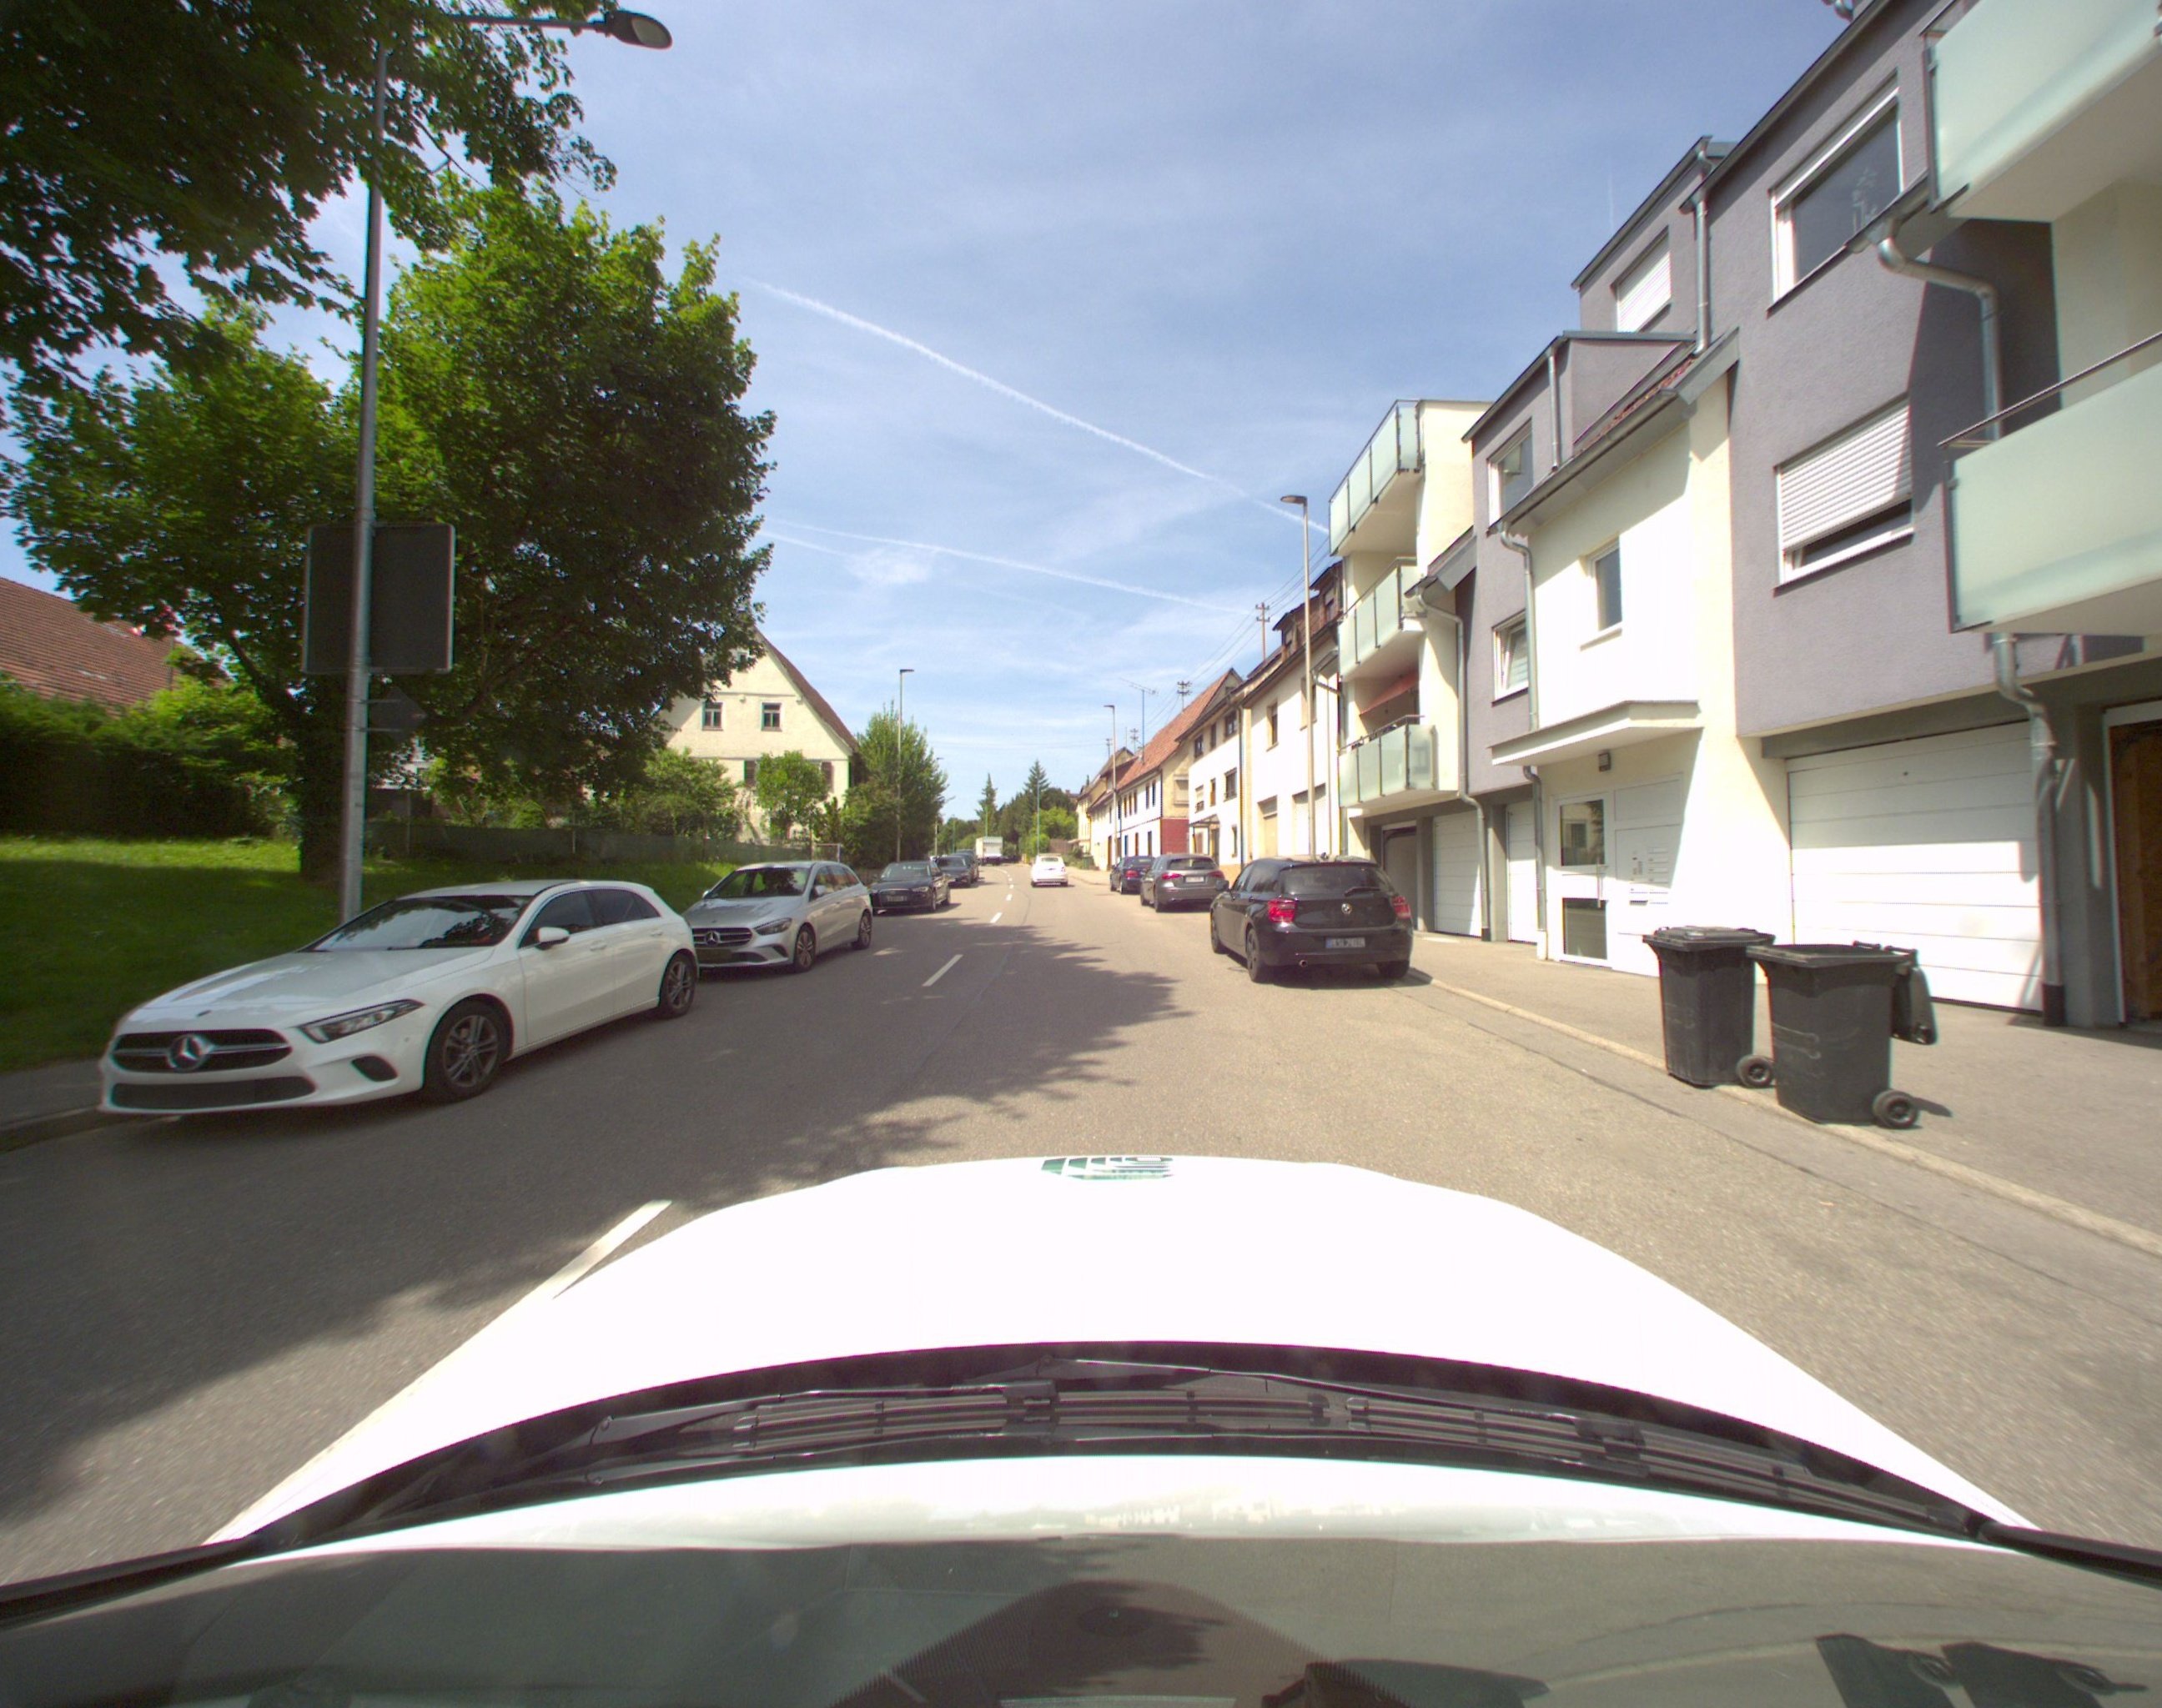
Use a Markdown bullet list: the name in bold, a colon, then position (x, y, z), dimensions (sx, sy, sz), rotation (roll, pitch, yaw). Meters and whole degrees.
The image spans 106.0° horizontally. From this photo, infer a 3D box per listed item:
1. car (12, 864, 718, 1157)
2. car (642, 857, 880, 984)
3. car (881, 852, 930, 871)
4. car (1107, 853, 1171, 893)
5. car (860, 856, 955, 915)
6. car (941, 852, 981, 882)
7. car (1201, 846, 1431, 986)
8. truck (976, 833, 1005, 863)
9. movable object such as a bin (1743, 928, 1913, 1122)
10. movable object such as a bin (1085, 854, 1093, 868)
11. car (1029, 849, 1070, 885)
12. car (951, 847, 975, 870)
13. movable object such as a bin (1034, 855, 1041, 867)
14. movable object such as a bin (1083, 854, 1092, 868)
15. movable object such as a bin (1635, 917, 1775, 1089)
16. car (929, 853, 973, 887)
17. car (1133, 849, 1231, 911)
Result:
- **car**: position (-4.847, 0.873, 6.590), dimensions (1.748, 1.467, 4.363), rotation (-2, 0, 1)
- **car**: position (-4.598, 0.850, 12.466), dimensions (1.765, 1.527, 4.224), rotation (-2, 0, 2)
- **car**: position (-16.135, 0.681, 74.713), dimensions (4.236, 1.405, 1.812), rotation (4, -1, -16)
- **car**: position (2.076, 0.648, 30.239), dimensions (1.664, 1.352, 4.178), rotation (0, 0, -6)
- **car**: position (-4.975, 0.838, 24.038), dimensions (1.799, 1.423, 4.925), rotation (-1, 1, -1)
- **car**: position (-6.435, 0.663, 44.027), dimensions (1.751, 1.521, 4.296), rotation (-1, 1, -3)
- **car**: position (2.775, 0.665, 10.671), dimensions (1.791, 1.424, 4.290), rotation (-1, 0, 1)
- **truck**: position (-11.751, -0.713, 105.396), dimensions (3.070, 3.774, 7.837), rotation (-1, -1, -11)
- **movable object such as a bin**: position (3.997, 0.893, 4.385), dimensions (0.429, 0.925, 0.491), rotation (-2, 0, 0)
- **movable object such as a bin**: position (0.613, 0.549, 61.975), dimensions (0.546, 1.033, 0.550), rotation (-3, 0, -8)
- **car**: position (-1.519, 0.602, 37.968), dimensions (1.722, 1.560, 3.993), rotation (0, -1, -5)
- **car**: position (-10.588, 0.422, 72.777), dimensions (1.891, 1.937, 4.968), rotation (-2, 0, -11)
- **movable object such as a bin**: position (-4.225, 0.684, 79.381), dimensions (0.491, 1.033, 0.550), rotation (-4, 0, 13)
- **movable object such as a bin**: position (0.514, 0.554, 62.579), dimensions (0.546, 1.033, 0.550), rotation (-3, 0, -8)
- **movable object such as a bin**: position (3.855, 0.897, 5.061), dimensions (0.429, 0.956, 0.517), rotation (-3, 0, 0)
- **car**: position (-6.024, 0.713, 38.225), dimensions (1.786, 1.463, 4.702), rotation (-1, 0, -6)
- **car**: position (2.549, 0.620, 21.612), dimensions (1.790, 1.403, 4.407), rotation (-2, 0, -3)
